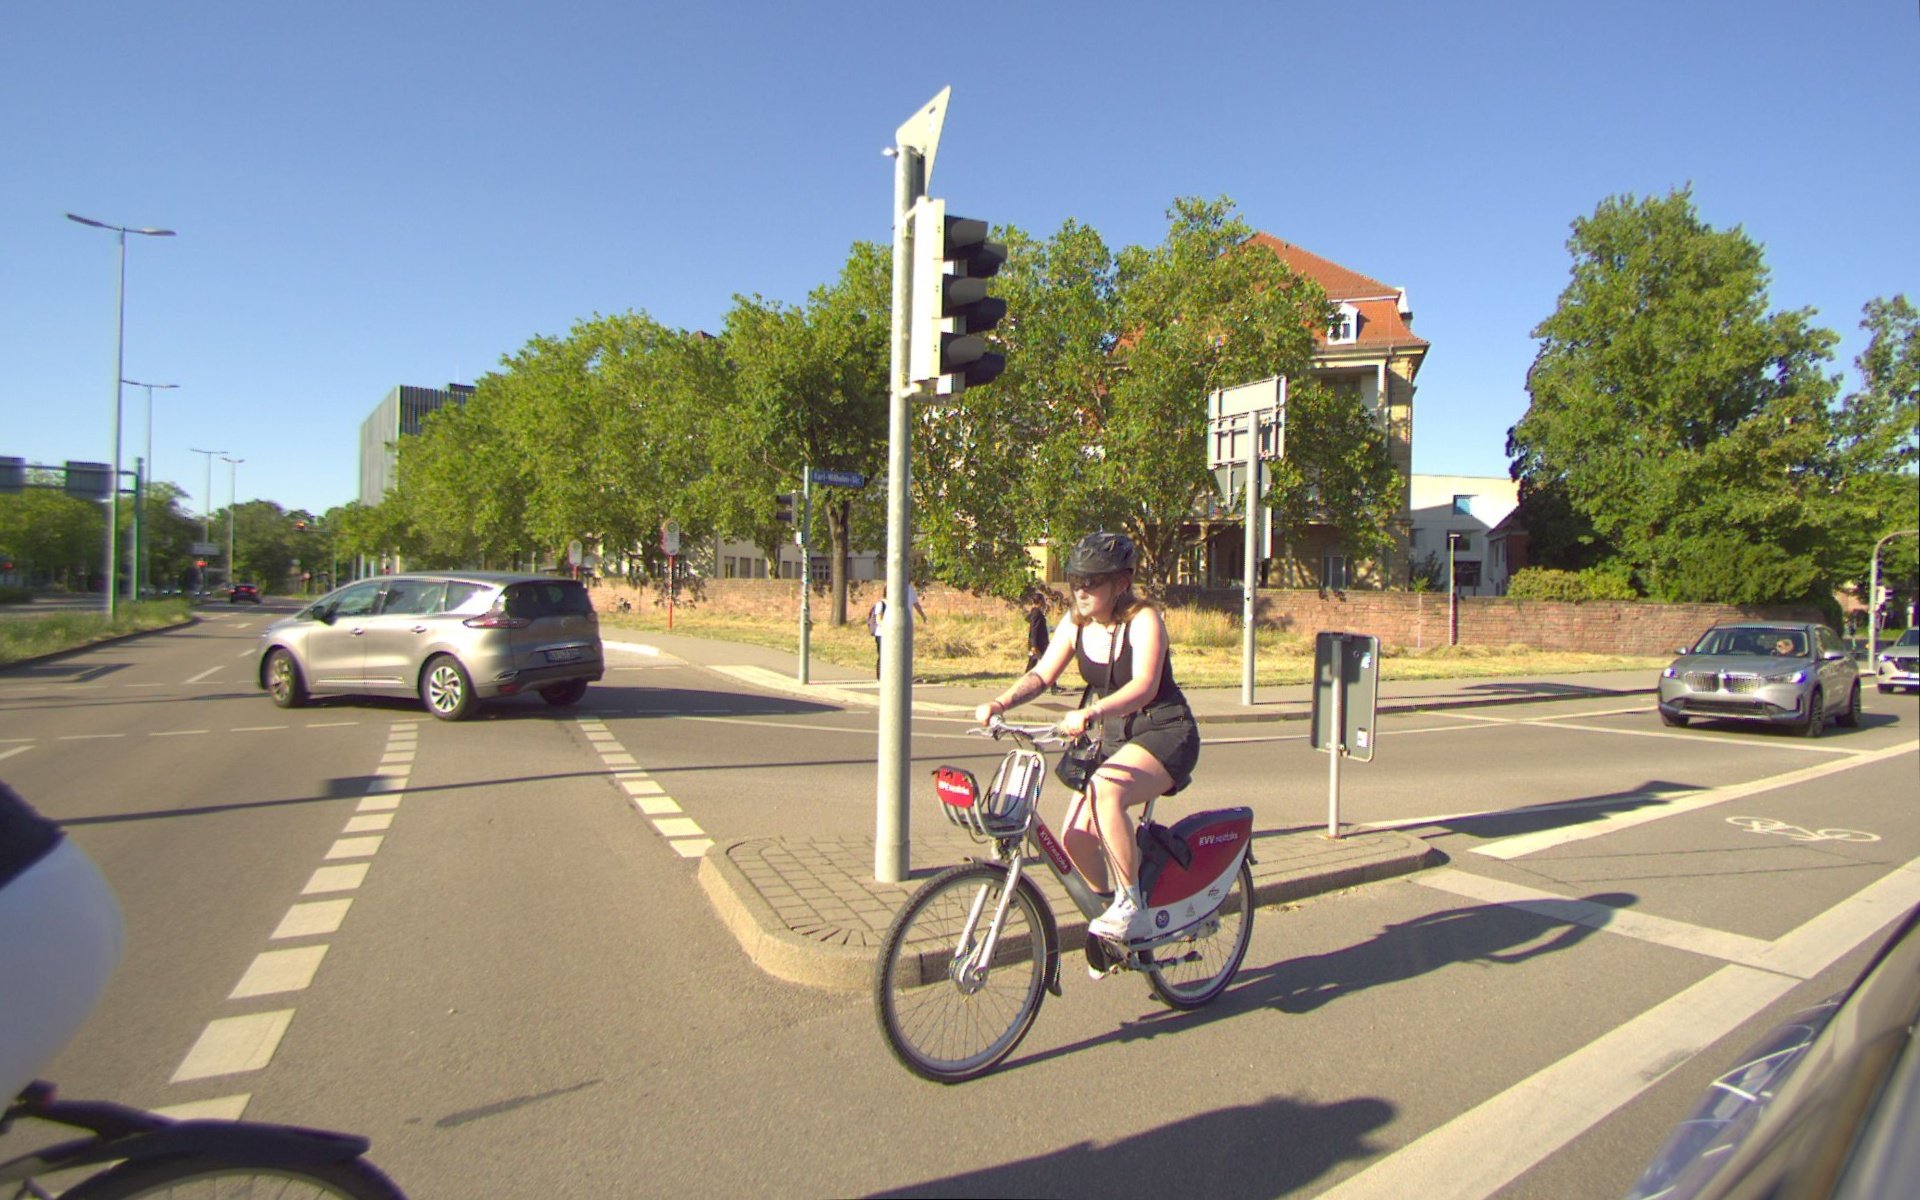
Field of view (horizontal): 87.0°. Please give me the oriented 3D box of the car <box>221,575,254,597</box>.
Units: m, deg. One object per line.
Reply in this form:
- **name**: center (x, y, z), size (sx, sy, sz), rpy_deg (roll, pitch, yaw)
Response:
- **car**: center (-54.993, -1.103, 77.053), size (1.962, 1.616, 4.001), rpy_deg (1, 1, -35)

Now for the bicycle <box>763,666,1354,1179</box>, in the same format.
- **bicycle**: center (0.428, 0.849, 3.387), size (2.028, 1.135, 0.719), rpy_deg (0, 0, -38)

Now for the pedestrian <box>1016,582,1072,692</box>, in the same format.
- **pedestrian**: center (1.365, 0.579, 16.360), size (0.780, 1.672, 0.711), rpy_deg (3, 3, 9)

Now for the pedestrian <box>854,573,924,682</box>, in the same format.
- **pedestrian**: center (-1.179, 0.431, 16.767), size (0.867, 1.694, 0.704), rpy_deg (4, 4, 34)

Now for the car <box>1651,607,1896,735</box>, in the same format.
- **car**: center (12.684, 0.973, 15.703), size (4.284, 1.640, 2.154), rpy_deg (1, 1, -40)

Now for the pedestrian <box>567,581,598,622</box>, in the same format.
- **pedestrian**: center (-14.851, 0.054, 39.813), size (0.955, 1.556, 0.923), rpy_deg (1, 0, -32)

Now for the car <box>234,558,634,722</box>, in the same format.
- **car**: center (-6.511, 0.383, 12.526), size (4.579, 1.705, 1.984), rpy_deg (1, 0, 24)

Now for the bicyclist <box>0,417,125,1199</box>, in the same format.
- **bicyclist**: center (-1.571, 0.575, 1.226), size (0.834, 1.569, 0.716), rpy_deg (1, -2, -41)

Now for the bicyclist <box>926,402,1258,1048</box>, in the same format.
- **bicyclist**: center (0.436, 0.345, 3.380), size (0.834, 1.810, 0.717), rpy_deg (0, 0, -37)

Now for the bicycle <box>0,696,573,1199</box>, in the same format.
- **bicycle**: center (-1.547, 0.719, 1.243), size (1.835, 1.136, 0.718), rpy_deg (4, -4, -40)

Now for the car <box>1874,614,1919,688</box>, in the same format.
- **car**: center (24.300, 1.198, 24.781), size (4.524, 1.705, 2.192), rpy_deg (1, -1, -39)

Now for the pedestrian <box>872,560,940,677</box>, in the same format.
- **pedestrian**: center (-0.934, 0.293, 17.461), size (0.867, 1.917, 0.704), rpy_deg (4, 4, 34)
